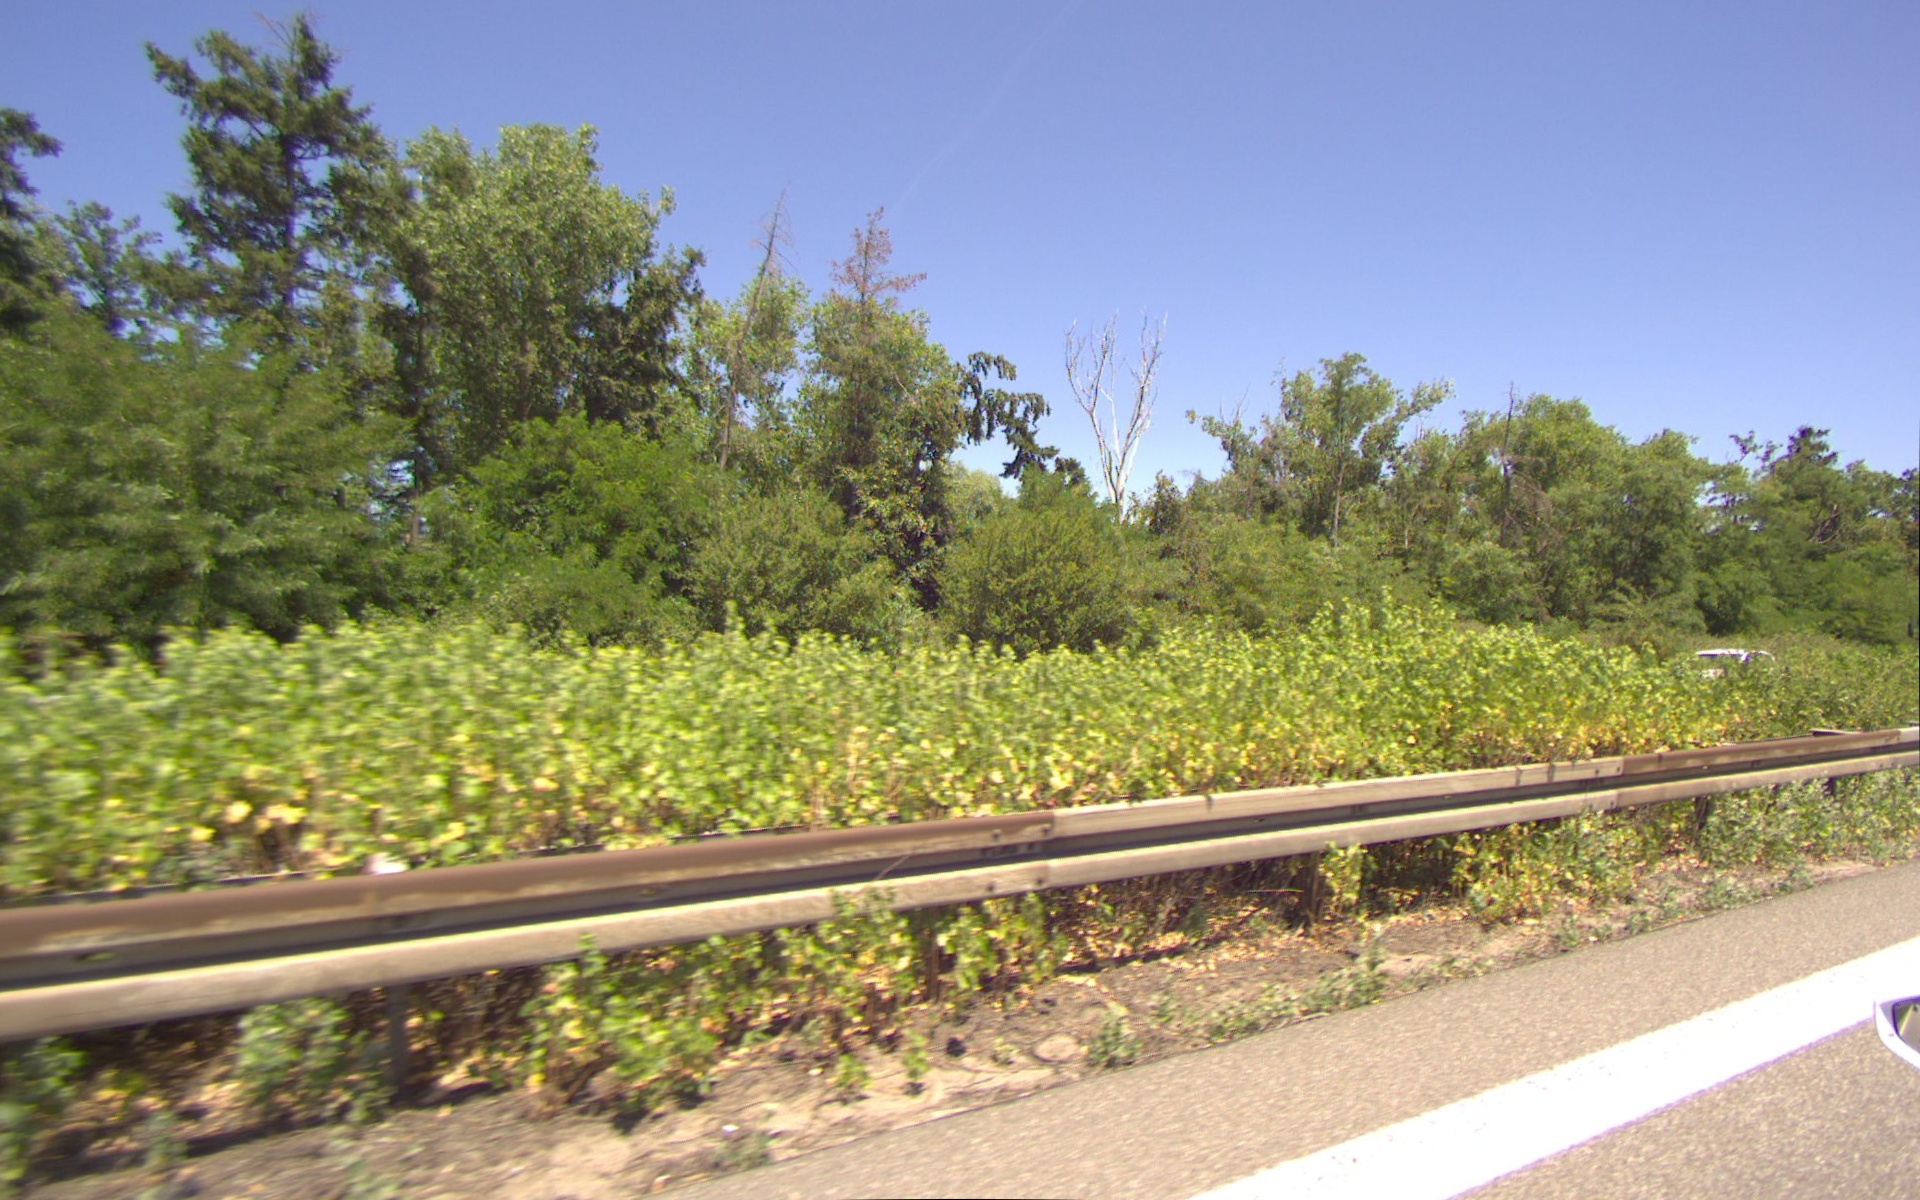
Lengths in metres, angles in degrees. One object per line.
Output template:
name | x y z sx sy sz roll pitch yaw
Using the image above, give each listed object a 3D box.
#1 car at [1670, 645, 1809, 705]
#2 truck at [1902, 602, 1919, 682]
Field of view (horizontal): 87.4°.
car | 20.906 1.999 26.915 3.700 1.501 1.633 2 -5 -30
truck | 49.537 2.075 48.507 11.705 3.681 2.527 2 -3 -30
